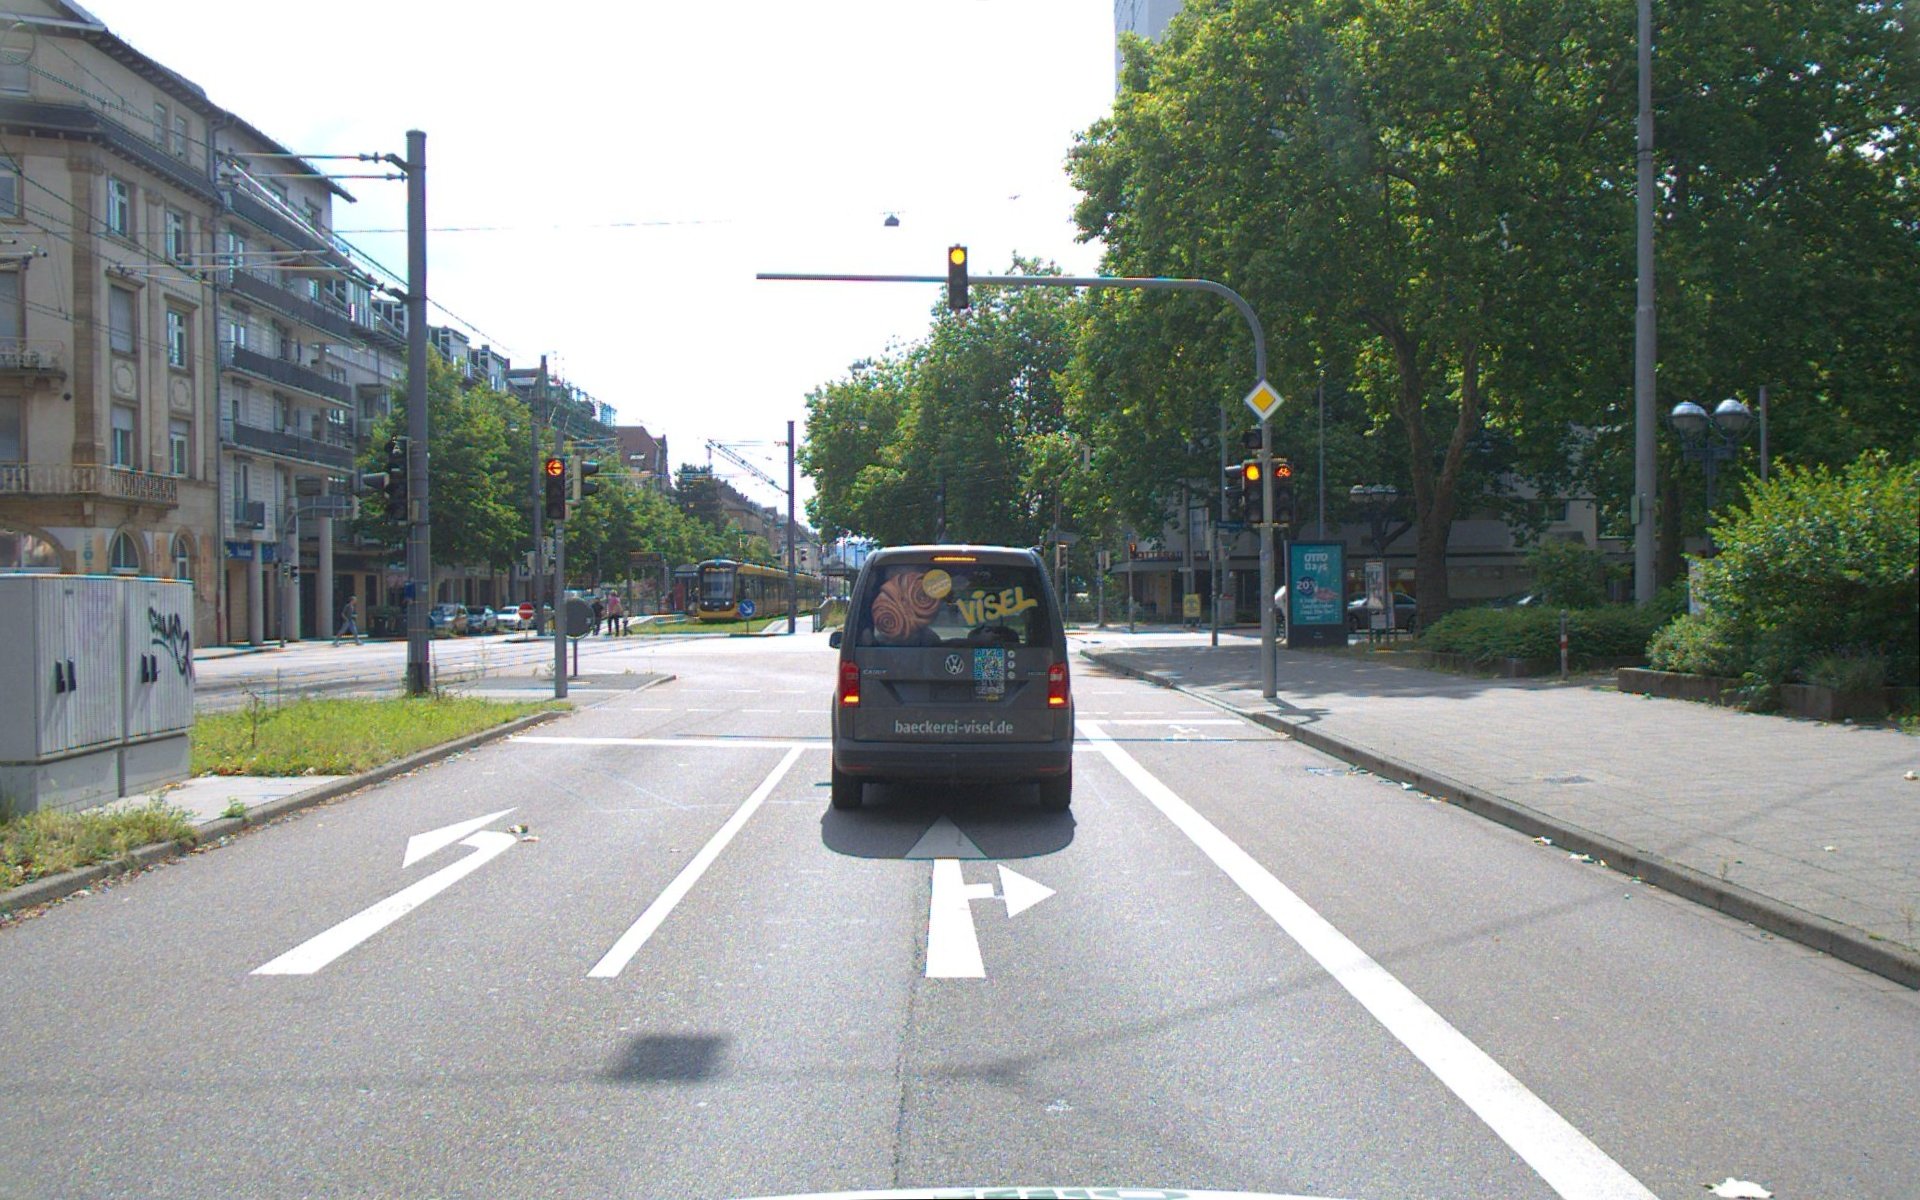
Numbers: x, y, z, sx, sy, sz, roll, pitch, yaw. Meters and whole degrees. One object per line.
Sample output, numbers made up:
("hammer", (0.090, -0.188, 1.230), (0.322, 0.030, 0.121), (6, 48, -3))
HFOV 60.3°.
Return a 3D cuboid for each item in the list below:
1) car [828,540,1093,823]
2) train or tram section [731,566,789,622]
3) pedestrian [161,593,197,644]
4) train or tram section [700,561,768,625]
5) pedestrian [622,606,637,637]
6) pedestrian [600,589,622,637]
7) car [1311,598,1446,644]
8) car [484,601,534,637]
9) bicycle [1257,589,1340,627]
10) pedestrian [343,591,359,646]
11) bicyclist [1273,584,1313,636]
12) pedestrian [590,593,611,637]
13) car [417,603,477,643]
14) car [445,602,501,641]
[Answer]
("car", (-0.013, 0.522, 12.541), (1.715, 1.840, 3.474), (0, 0, -1))
("train or tram section", (-12.980, -0.405, 108.346), (2.195, 3.389, 14.011), (-1, 0, -1))
("pedestrian", (-25.453, 0.589, 53.930), (0.677, 1.623, 0.862), (-1, 0, 6))
("train or tram section", (-12.823, -0.405, 94.874), (2.195, 3.389, 12.969), (-1, 0, -1))
("pedestrian", (-12.590, 0.812, 63.036), (0.454, 1.164, 0.435), (-1, 0, -1))
("pedestrian", (-13.264, 0.479, 62.877), (0.646, 1.815, 0.660), (-1, 0, -1))
("car", (14.296, 0.694, 56.459), (4.423, 1.414, 1.693), (-1, 0, -25))
("car", (-27.559, 1.147, 101.148), (1.953, 2.049, 3.999), (-1, 0, -1))
("bicycle", (10.041, 0.228, 49.152), (2.255, 1.066, 0.896), (-1, 0, -3))
("pedestrian", (-23.089, 0.691, 62.709), (0.468, 2.049, 0.419), (-1, 0, -6))
("bicyclist", (9.944, 0.293, 49.440), (0.977, 1.538, 0.780), (-1, 0, -3))
("pedestrian", (-14.280, 0.594, 65.711), (0.646, 1.714, 0.655), (-1, 0, -1))
("car", (-27.239, 1.192, 87.993), (1.953, 2.049, 3.999), (-1, 0, -1))
("car", (-27.244, 1.174, 92.647), (1.953, 2.049, 3.999), (-1, 0, -1))
